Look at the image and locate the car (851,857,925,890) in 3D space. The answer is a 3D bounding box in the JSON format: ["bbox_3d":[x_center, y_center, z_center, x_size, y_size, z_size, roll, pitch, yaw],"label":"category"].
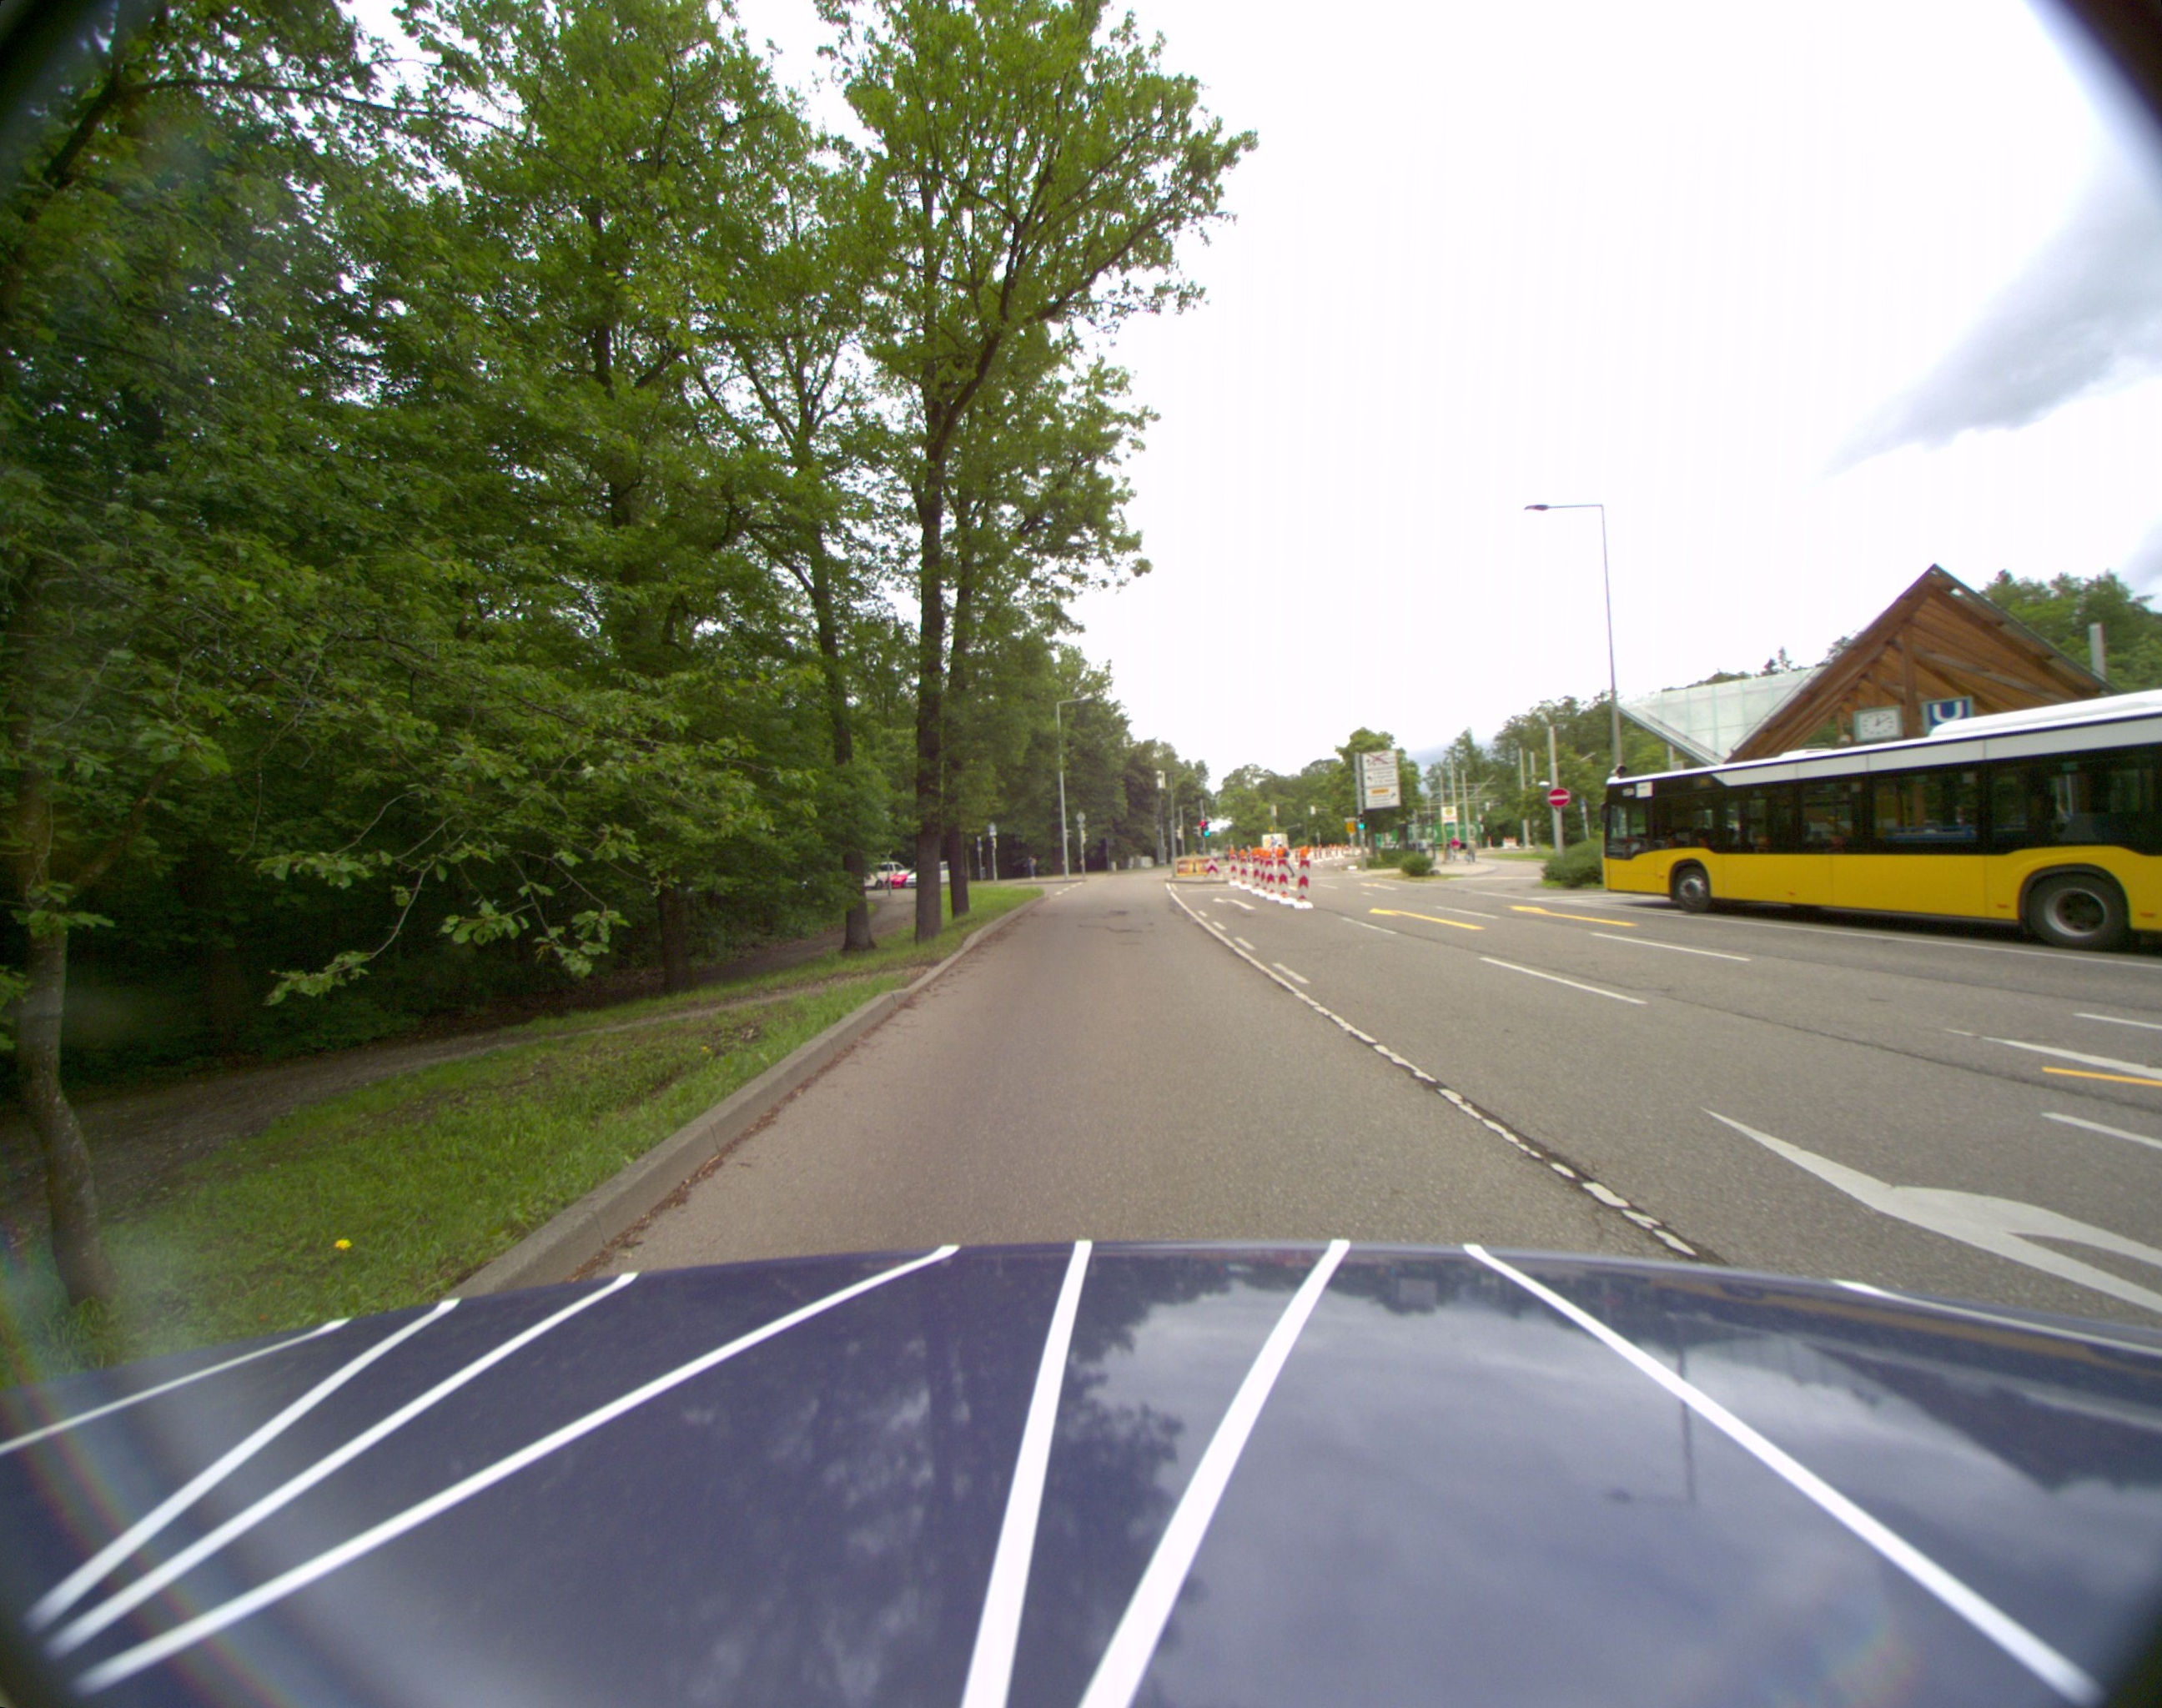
[{"bbox_3d":[-14.135,1.390,56.060,2.058,1.946,5.191,-4,1,32],"label":"car"}]

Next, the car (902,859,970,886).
[{"bbox_3d":[-10.058,1.287,53.066,1.995,1.543,4.429,-4,-1,36],"label":"car"}]

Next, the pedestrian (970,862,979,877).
[{"bbox_3d":[-12.343,1.826,88.325,0.833,1.641,1.035,-4,0,-2],"label":"pedestrian"}]

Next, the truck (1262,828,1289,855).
[{"bbox_3d":[24.849,-1.549,96.836,2.631,3.219,6.215,-1,1,20],"label":"truck"}]

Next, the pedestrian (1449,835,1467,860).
[{"bbox_3d":[23.824,-0.418,48.007,0.791,1.542,0.776,-4,0,12],"label":"pedestrian"}]

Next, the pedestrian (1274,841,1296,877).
[{"bbox_3d":[10.600,0.248,39.506,0.993,1.798,0.767,-4,0,15],"label":"pedestrian"}]

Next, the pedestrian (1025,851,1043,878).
[{"bbox_3d":[-3.101,0.692,50.320,1.093,1.666,0.910,-3,1,-5],"label":"pedestrian"}]

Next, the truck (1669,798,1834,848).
[{"bbox_3d":[36.790,-1.623,42.005,2.609,2.157,6.295,-4,0,-17],"label":"truck"}]

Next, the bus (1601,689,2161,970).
[{"bbox_3d":[13.496,-0.343,12.758,2.906,3.109,9.759,-2,0,1],"label":"bus"}]

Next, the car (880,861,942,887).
[{"bbox_3d":[-12.110,1.442,54.374,1.890,1.543,4.007,-4,-1,36],"label":"car"}]

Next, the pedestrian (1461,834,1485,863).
[{"bbox_3d":[22.203,-0.309,43.032,0.769,1.516,0.873,-4,0,-44],"label":"pedestrian"}]

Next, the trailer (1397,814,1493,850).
[{"bbox_3d":[48.590,-2.894,102.088,3.792,3.858,11.849,-4,0,-24],"label":"trailer"}]

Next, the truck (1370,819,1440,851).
[{"bbox_3d":[45.966,-2.640,108.196,3.792,3.858,8.757,-4,0,-24],"label":"truck"}]

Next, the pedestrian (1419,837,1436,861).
[{"bbox_3d":[22.798,-0.336,50.000,0.775,1.537,0.629,-4,1,14],"label":"pedestrian"}]
